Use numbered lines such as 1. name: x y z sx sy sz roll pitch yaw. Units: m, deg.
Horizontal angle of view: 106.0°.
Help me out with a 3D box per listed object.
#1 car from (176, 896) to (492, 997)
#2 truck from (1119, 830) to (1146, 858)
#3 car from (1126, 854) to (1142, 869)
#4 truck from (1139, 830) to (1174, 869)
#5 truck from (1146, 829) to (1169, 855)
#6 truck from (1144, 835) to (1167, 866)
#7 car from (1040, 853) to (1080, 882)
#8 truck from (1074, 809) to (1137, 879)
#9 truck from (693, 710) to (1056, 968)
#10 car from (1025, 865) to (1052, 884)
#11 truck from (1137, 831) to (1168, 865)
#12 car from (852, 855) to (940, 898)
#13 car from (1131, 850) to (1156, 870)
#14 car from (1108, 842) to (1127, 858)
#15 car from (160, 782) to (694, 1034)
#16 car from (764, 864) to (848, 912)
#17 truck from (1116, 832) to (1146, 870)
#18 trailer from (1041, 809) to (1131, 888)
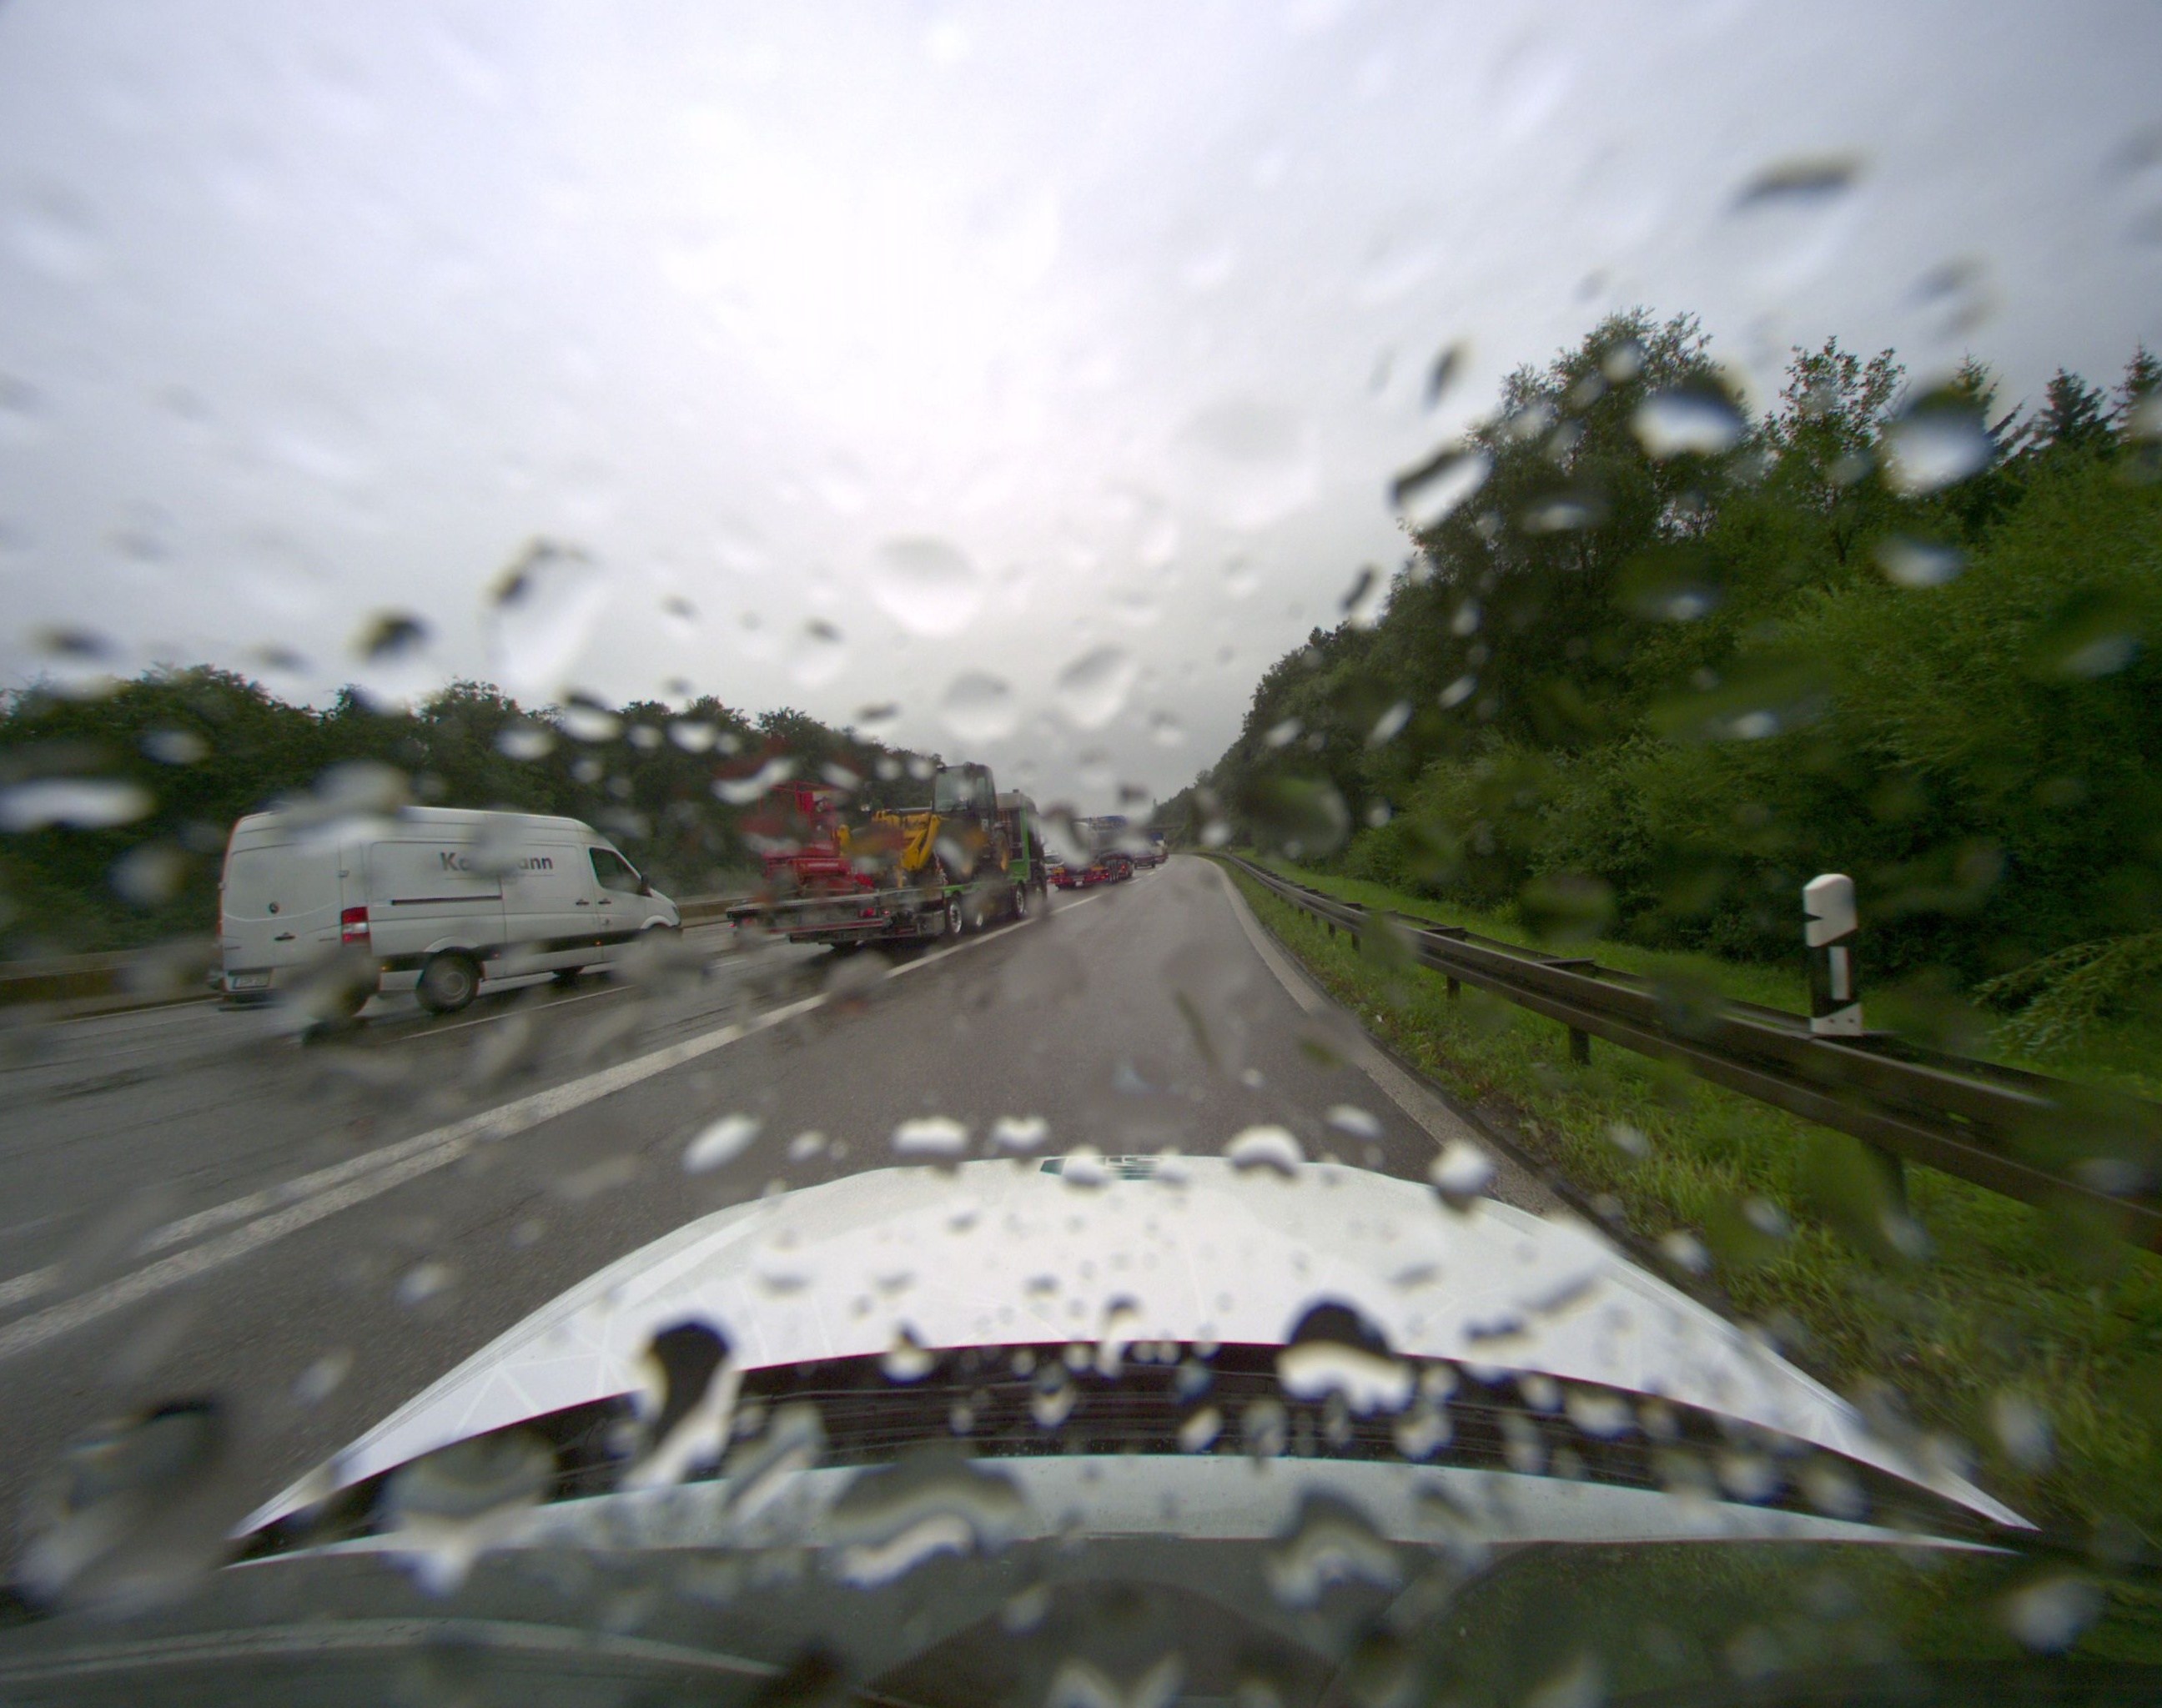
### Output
1. car: -15.353 1.825 17.179 1.854 1.522 4.644 -4 -1 11
2. truck: 8.894 -1.650 139.472 3.556 4.095 10.902 -4 -2 8
3. car: 6.994 1.045 106.668 1.788 1.904 4.007 -1 -1 7
4. truck: 9.060 -0.490 96.237 3.582 4.105 11.580 -4 0 6
5. truck: 13.012 -1.938 138.384 3.736 3.971 11.075 -1 -1 6
6. truck: 14.622 -0.672 159.515 4.314 5.764 9.745 -1 -1 6
7. car: -1.315 0.844 53.235 1.809 1.767 4.010 -3 0 9
8. truck: 1.537 -0.569 47.780 2.860 3.693 5.069 -4 0 9
9. truck: -3.278 -0.207 17.837 2.814 3.588 11.831 -5 -1 10
10. car: -4.430 2.112 85.175 1.982 1.772 4.144 -3 -1 8
11. truck: 9.937 -0.729 112.175 3.486 4.268 10.628 -1 -1 9
12. car: -8.061 0.922 36.074 1.981 1.594 4.821 -4 0 10
13. car: 5.477 0.524 71.255 1.983 1.636 4.008 -1 -1 7
14. car: 4.333 -0.439 95.312 1.787 1.838 4.009 -1 -1 8
15. car: -8.596 0.620 11.787 2.201 2.629 5.862 -4 -1 11
16. car: -12.065 1.460 36.016 1.786 2.014 4.012 -1 -1 11
17. truck: 7.747 -0.276 124.053 3.733 5.499 10.195 -1 -1 8
18. trailer: 0.513 -0.295 40.958 2.857 3.288 10.102 -4 0 9
